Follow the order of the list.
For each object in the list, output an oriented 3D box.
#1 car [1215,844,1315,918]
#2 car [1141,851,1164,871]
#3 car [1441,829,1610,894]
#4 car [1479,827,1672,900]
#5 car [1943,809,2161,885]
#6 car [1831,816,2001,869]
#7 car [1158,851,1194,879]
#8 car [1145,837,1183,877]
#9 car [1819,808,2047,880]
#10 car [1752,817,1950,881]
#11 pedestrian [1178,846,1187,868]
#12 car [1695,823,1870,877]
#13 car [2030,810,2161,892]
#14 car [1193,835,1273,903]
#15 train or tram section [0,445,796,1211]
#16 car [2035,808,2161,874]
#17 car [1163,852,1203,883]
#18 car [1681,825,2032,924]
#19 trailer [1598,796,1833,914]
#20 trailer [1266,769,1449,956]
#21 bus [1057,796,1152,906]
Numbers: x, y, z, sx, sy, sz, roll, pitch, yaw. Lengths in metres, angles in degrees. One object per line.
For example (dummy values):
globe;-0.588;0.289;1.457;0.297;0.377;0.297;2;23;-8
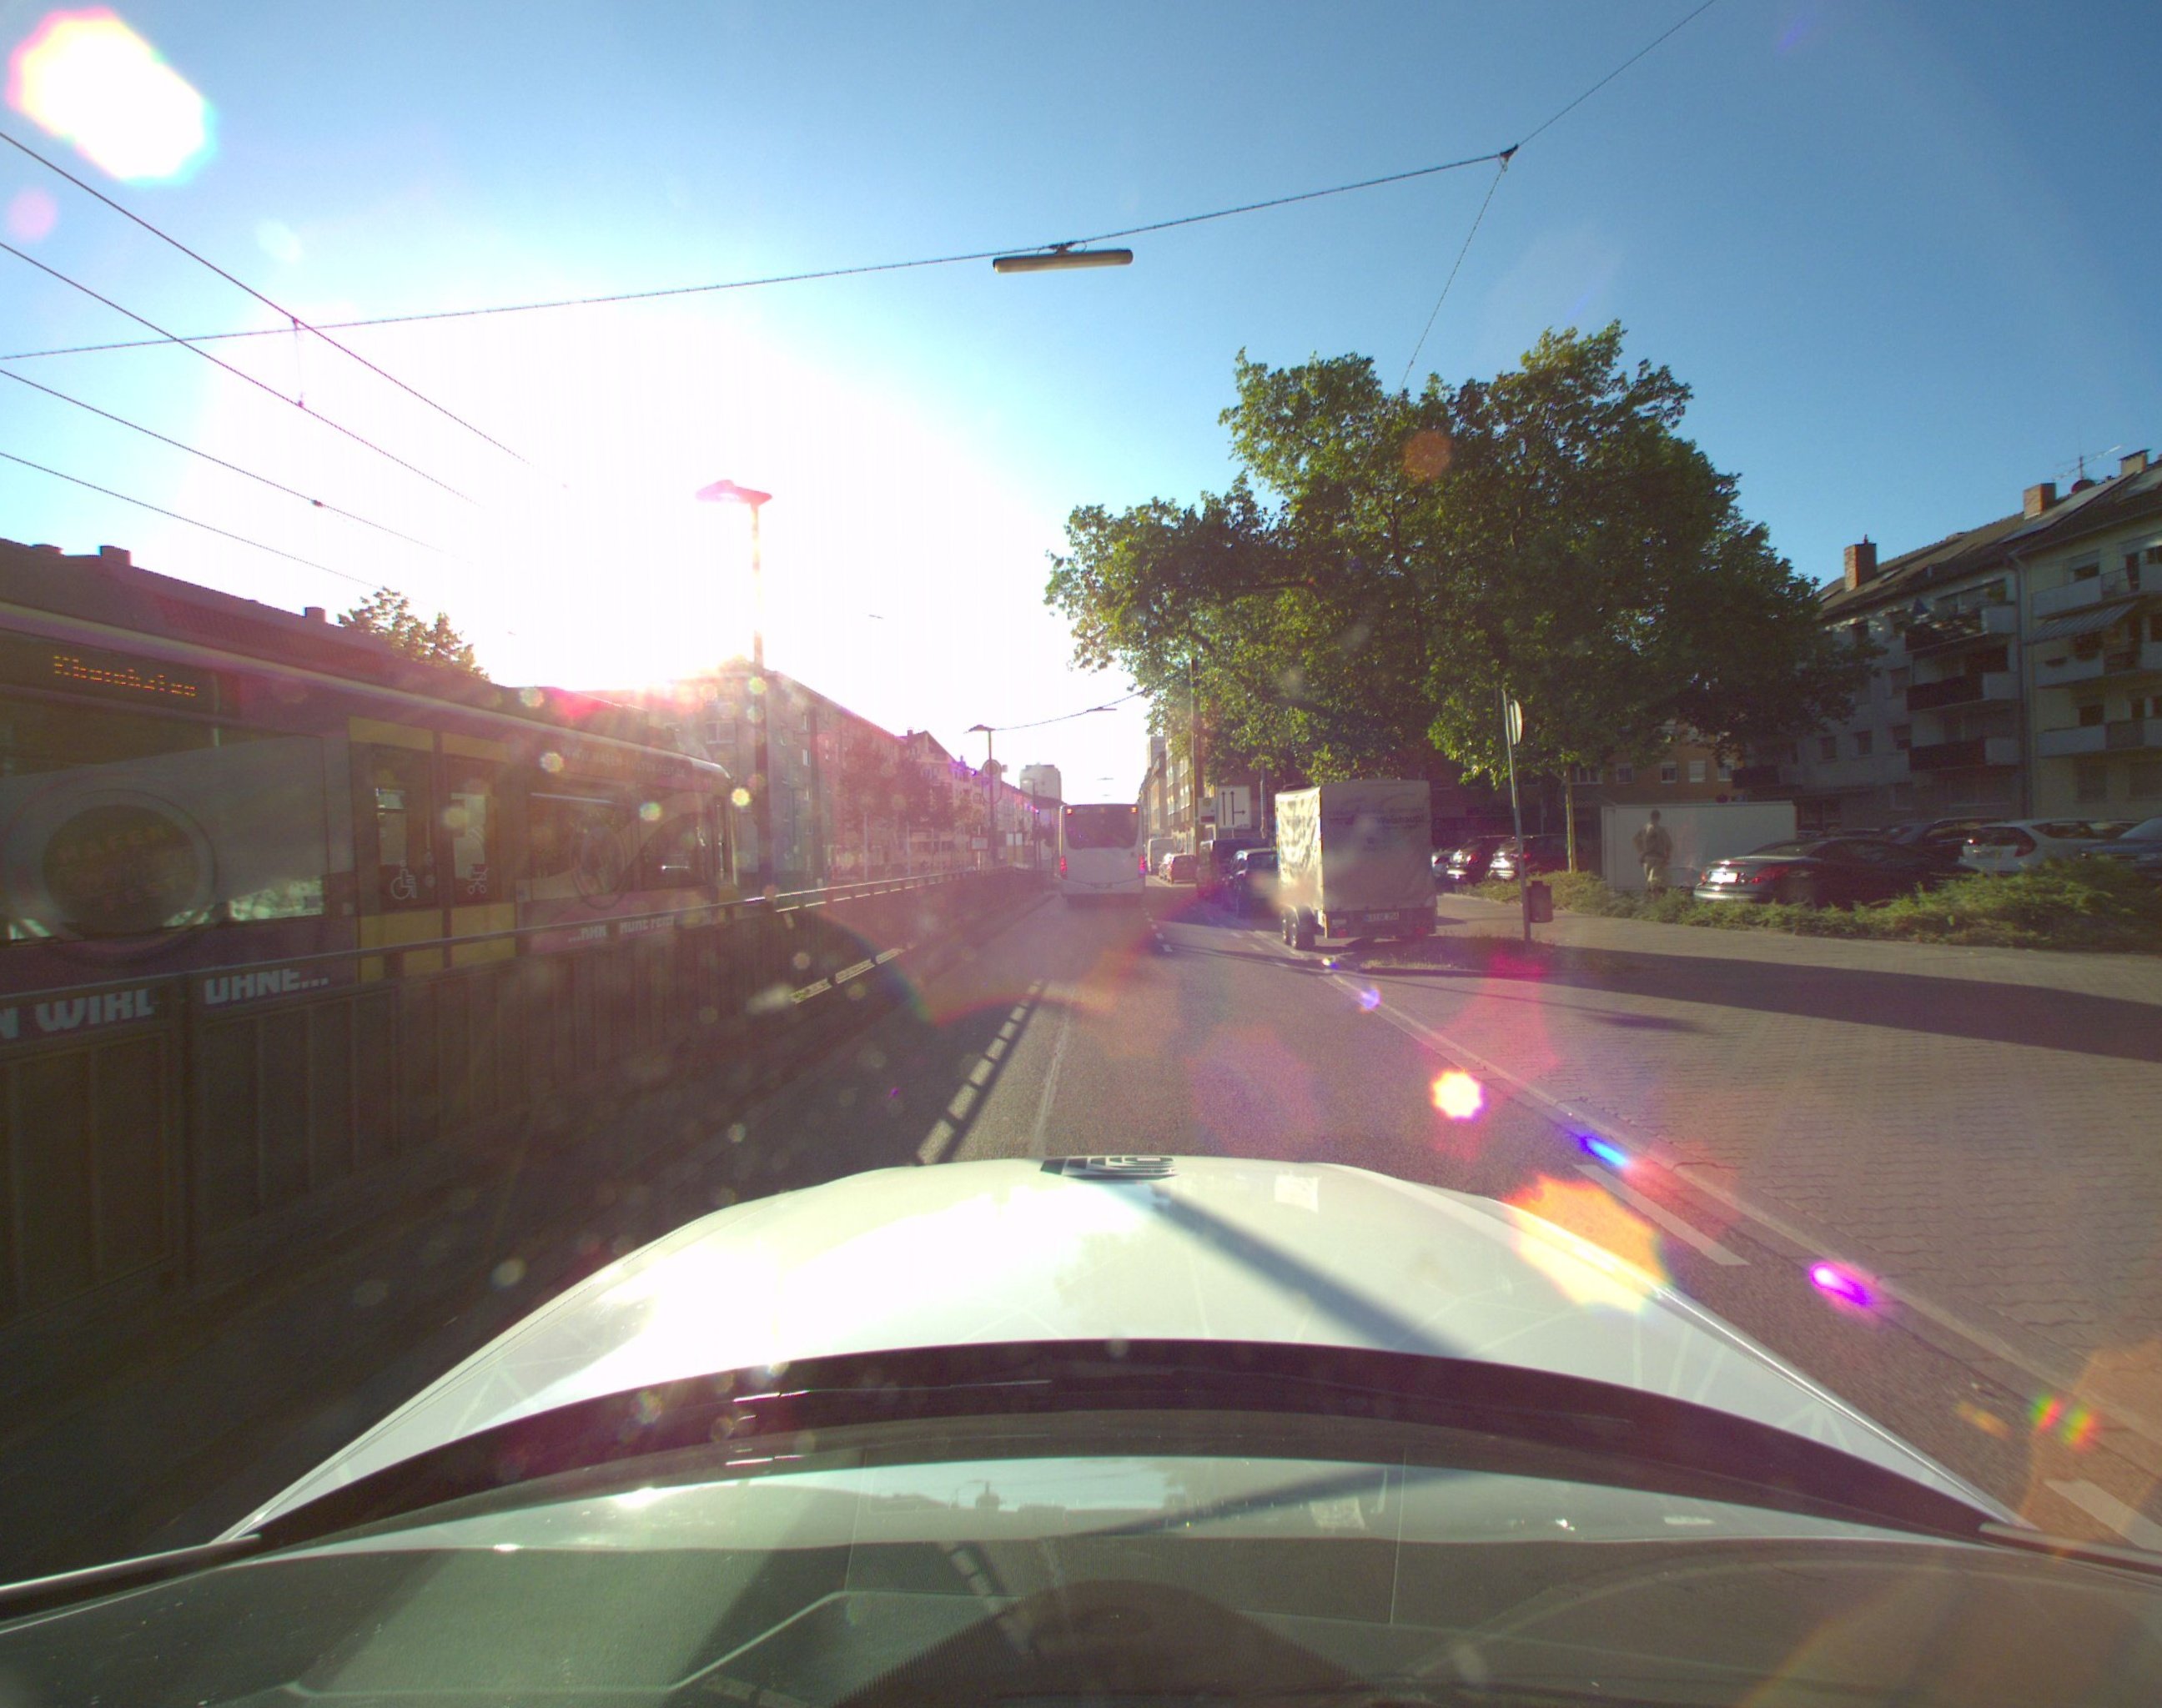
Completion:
car;4.467;0.617;20.287;1.694;1.588;3.829;-2;0;2
car;6.108;0.566;69.682;1.723;1.575;3.677;-2;0;2
car;12.691;0.214;23.428;3.906;1.637;1.707;-2;-1;1
car;12.675;0.243;21.064;3.906;1.636;1.707;-2;-1;1
car;24.172;-0.172;20.020;3.880;1.555;1.830;-4;-1;1
car;30.920;-0.406;30.255;4.261;1.642;1.873;-4;-1;1
car;5.461;0.637;47.239;1.665;1.463;3.935;-4;-1;2
car;5.912;0.228;58.478;2.273;2.627;5.312;-2;0;2
car;23.631;-0.256;22.709;4.261;1.642;1.873;-4;-1;1
car;23.859;-0.135;25.360;4.261;1.642;1.873;-4;-1;1
pedestrian;9.120;0.258;73.253;0.682;1.947;1.116;-1;-2;2
car;23.817;-0.137;27.771;4.261;1.642;1.873;-2;0;1
car;23.880;-0.159;17.611;4.263;1.587;2.026;-4;-1;0
car;4.847;0.463;26.516;1.840;1.956;4.546;-2;0;2
train or tram section;-6.178;-0.092;6.376;2.630;3.519;13.340;-2;0;2
car;29.942;-0.413;22.753;4.261;1.642;1.873;-4;-1;1
car;5.247;0.679;42.323;1.665;1.463;3.935;-4;-1;2
car;12.271;0.318;13.101;3.904;1.336;1.707;-2;-1;2
trailer;12.159;0.021;15.796;3.051;2.069;1.880;-2;0;3
trailer;4.266;0.121;13.142;1.825;2.557;3.320;-3;0;2
bus;0.796;-0.064;28.927;2.723;3.139;10.705;-1;0;1
